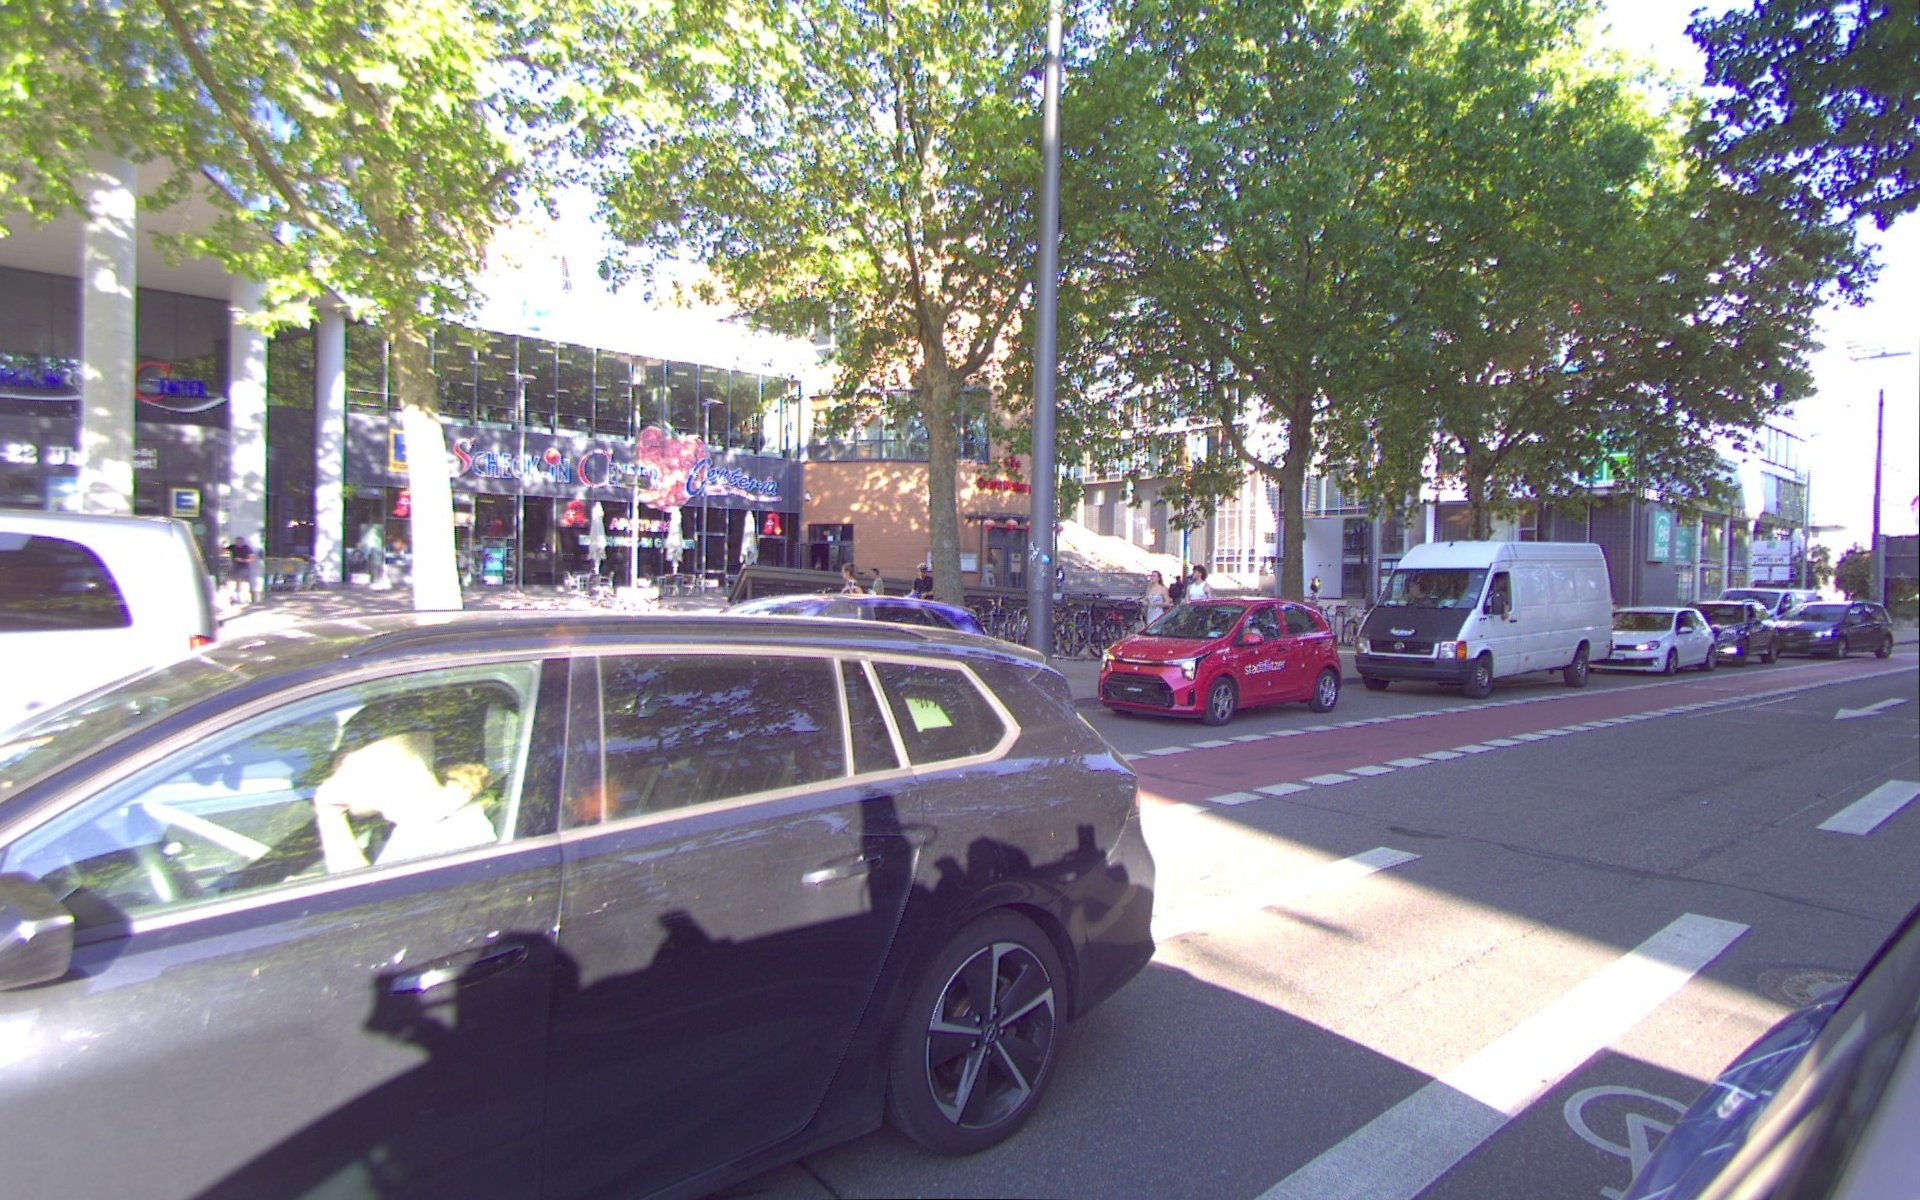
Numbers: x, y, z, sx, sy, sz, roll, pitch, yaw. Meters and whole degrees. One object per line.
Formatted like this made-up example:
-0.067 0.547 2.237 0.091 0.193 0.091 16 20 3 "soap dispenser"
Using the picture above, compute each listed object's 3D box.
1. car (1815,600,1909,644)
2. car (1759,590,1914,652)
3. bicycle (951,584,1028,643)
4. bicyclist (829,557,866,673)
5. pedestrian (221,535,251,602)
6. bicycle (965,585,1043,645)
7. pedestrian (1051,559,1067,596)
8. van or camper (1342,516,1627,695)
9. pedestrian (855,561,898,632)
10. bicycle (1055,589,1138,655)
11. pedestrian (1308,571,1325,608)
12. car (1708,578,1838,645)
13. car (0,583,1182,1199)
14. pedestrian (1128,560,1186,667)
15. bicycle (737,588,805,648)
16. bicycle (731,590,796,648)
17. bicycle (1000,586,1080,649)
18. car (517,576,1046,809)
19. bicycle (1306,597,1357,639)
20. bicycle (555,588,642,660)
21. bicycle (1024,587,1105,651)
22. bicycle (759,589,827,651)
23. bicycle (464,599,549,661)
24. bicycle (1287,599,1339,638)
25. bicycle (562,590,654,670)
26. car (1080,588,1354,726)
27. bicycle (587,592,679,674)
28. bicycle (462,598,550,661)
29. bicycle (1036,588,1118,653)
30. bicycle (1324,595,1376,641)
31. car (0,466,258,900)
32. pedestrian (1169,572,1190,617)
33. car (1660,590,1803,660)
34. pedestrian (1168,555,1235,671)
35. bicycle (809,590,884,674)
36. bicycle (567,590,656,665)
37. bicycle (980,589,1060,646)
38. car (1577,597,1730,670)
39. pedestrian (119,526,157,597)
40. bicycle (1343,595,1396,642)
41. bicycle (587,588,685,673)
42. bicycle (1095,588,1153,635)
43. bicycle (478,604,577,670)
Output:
31.772 0.733 35.609 3.927 1.394 1.802 0 2 -38 "car"
25.300 0.578 29.195 4.242 1.640 1.970 0 1 -28 "car"
0.641 0.269 21.706 1.818 1.209 0.434 0 1 -41 "bicycle"
-1.757 0.226 15.775 0.392 1.782 0.390 0 1 -41 "bicyclist"
-18.751 -0.802 26.211 0.506 1.707 0.604 1 1 -23 "pedestrian"
0.939 0.294 21.353 1.818 1.209 0.458 0 1 -41 "bicycle"
5.496 -1.244 56.283 0.861 2.062 0.585 1 1 6 "pedestrian"
9.293 0.066 17.584 6.456 2.611 1.998 0 0 -39 "van or camper"
-2.071 -0.100 25.125 0.798 1.728 0.712 2 1 25 "pedestrian"
2.625 0.396 19.369 1.818 1.209 0.481 0 2 -41 "bicycle"
21.343 -0.610 60.541 0.826 2.183 0.852 2 1 26 "pedestrian"
26.383 0.342 32.802 4.863 2.020 1.968 0 1 -35 "car"
-1.451 0.686 2.444 4.196 1.432 1.742 0 0 -41 "car"
3.398 0.214 17.449 0.646 1.799 0.752 2 1 43 "pedestrian"
-3.639 0.341 19.510 1.202 1.110 0.444 0 1 -40 "bicycle"
-3.884 0.370 20.053 1.202 1.110 0.429 0 1 -40 "bicycle"
1.633 0.337 20.524 1.818 1.209 0.447 0 1 -41 "bicycle"
-1.346 0.592 8.681 4.177 1.503 1.742 0 2 -41 "car"
10.313 0.481 28.049 1.766 1.108 0.522 0 2 -41 "bicycle"
-5.834 0.362 16.373 0.414 1.110 1.269 2 1 41 "bicycle"
2.114 0.360 20.263 1.818 1.209 0.484 0 2 -41 "bicycle"
-3.103 0.368 18.846 1.202 1.110 0.427 0 1 -40 "bicycle"
-7.117 0.460 15.925 1.198 0.938 0.465 1 1 -22 "bicycle"
9.929 0.503 28.459 1.818 1.046 0.515 0 2 -41 "bicycle"
-5.153 0.422 14.844 1.202 1.110 0.396 0 1 -40 "bicycle"
3.325 0.607 12.798 3.588 1.476 1.605 0 1 -41 "car"
-4.574 0.449 14.183 1.202 1.110 0.269 0 1 -40 "bicycle"
-6.954 0.451 15.547 1.198 0.930 0.442 1 1 -22 "bicycle"
2.302 0.386 19.755 1.818 1.209 0.448 0 1 -41 "bicycle"
10.668 0.482 27.637 1.818 1.209 0.495 0 2 -41 "bicycle"
-6.199 0.355 4.389 5.008 2.004 1.940 0 2 -41 "car"
7.993 -0.211 36.803 0.707 1.578 0.638 1 1 14 "pedestrian"
19.707 0.588 25.800 4.148 1.640 1.819 0 1 -36 "car"
4.089 0.212 17.111 0.642 1.867 0.801 7 4 45 "pedestrian"
-1.756 0.481 15.760 1.126 1.271 0.379 0 1 -41 "bicycle"
-5.355 0.404 15.592 0.372 1.110 1.269 2 1 41 "bicycle"
1.260 0.349 20.973 1.818 1.139 0.484 0 2 -41 "bicycle"
15.289 0.675 22.259 3.927 1.446 1.683 0 1 -38 "car"
-21.391 -0.997 26.341 0.590 1.805 0.889 1 1 -27 "pedestrian"
11.036 0.475 27.237 1.818 1.209 0.521 0 2 -41 "bicycle"
-4.431 0.397 13.888 1.202 1.110 0.413 0 1 -40 "bicycle"
4.394 0.302 27.071 1.759 1.209 0.517 0 2 -41 "bicycle"
-6.234 0.516 14.600 1.231 0.898 0.462 0 1 -40 "bicycle"
